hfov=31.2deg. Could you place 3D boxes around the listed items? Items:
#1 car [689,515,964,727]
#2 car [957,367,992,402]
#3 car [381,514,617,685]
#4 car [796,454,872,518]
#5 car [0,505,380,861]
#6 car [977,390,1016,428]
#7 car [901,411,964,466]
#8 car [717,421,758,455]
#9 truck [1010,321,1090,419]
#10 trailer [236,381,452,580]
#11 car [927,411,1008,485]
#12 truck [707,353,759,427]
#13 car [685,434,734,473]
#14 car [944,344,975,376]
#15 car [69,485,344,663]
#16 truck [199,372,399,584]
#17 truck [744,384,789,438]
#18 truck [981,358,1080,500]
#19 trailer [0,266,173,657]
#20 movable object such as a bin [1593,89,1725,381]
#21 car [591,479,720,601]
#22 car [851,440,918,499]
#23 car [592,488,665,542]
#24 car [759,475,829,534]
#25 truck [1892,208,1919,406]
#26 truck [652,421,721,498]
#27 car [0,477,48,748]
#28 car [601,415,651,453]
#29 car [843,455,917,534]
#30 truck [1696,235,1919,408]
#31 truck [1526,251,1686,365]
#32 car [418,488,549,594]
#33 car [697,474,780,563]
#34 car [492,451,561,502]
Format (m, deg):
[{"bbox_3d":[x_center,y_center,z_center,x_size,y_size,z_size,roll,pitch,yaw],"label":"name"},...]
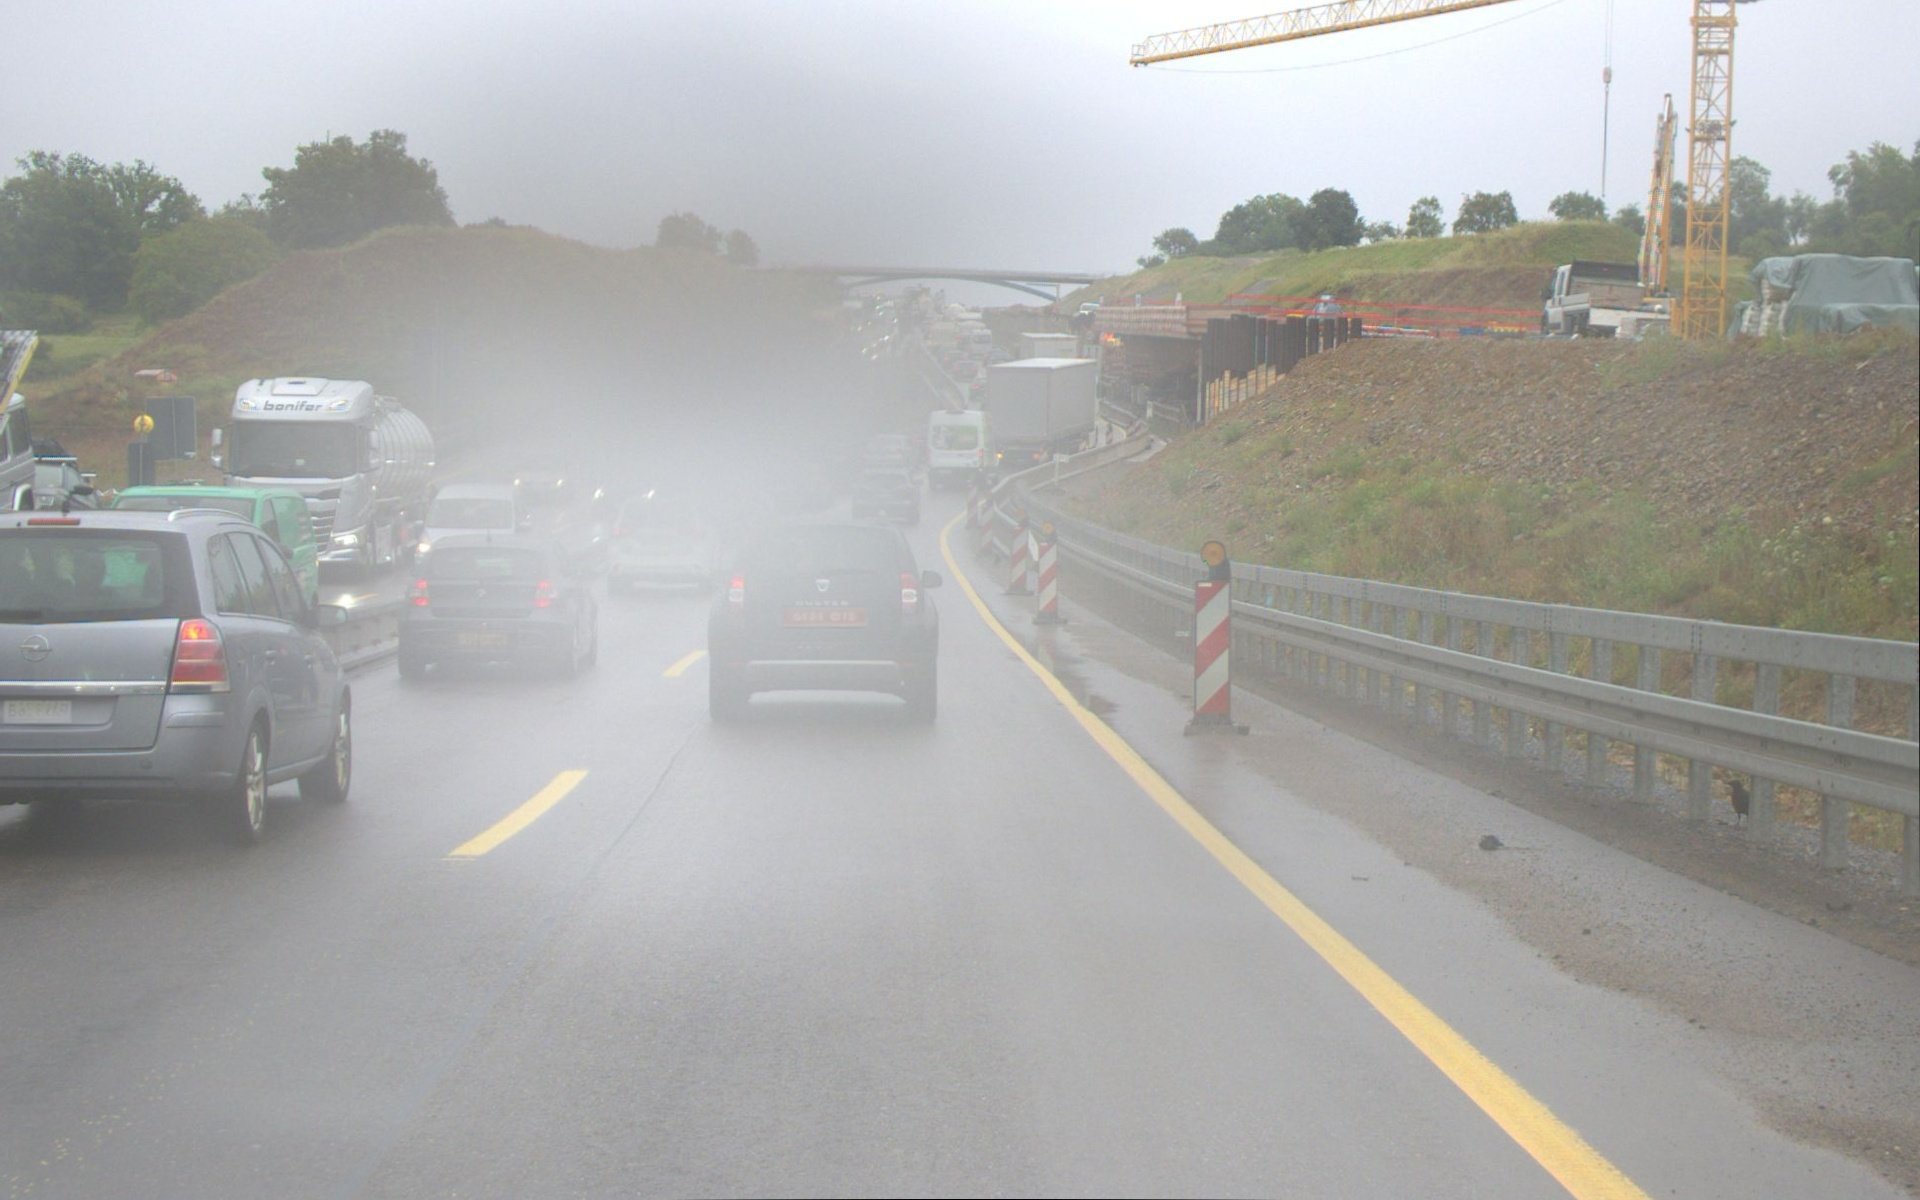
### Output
[{"bbox_3d":[-1.044,0.116,28.333,2.081,1.595,4.141,1,1,-1],"label":"car"},{"bbox_3d":[0.855,-12.915,206.226,1.993,2.006,4.001,0,3,-2],"label":"car"},{"bbox_3d":[-4.573,-0.051,34.642,1.993,1.595,4.141,1,1,-3],"label":"car"},{"bbox_3d":[-4.304,-3.891,117.893,1.994,2.155,4.140,1,1,7],"label":"car"},{"bbox_3d":[-4.292,0.322,17.568,1.993,1.595,4.141,1,1,-1],"label":"car"},{"bbox_3d":[1.952,-10.270,185.010,1.993,2.006,4.001,0,3,-2],"label":"car"},{"bbox_3d":[-1.133,-6.617,141.405,1.994,2.155,4.139,1,1,8],"label":"car"},{"bbox_3d":[-9.985,-7.283,154.632,1.676,1.518,4.346,0,3,-2],"label":"car"},{"bbox_3d":[5.129,-13.205,198.741,3.803,5.025,12.923,1,1,-2],"label":"truck"},{"bbox_3d":[-12.333,-2.371,69.845,2.620,3.665,12.006,1,1,-2],"label":"trailer"},{"bbox_3d":[0.286,-5.284,120.137,1.994,2.475,4.980,1,1,10],"label":"car"},{"bbox_3d":[-12.664,-11.752,192.125,2.641,3.956,9.216,1,4,-2],"label":"truck"},{"bbox_3d":[-10.135,-5.944,139.516,1.786,1.533,4.312,0,2,-1],"label":"car"},{"bbox_3d":[-0.062,-16.965,243.125,1.993,2.007,4.001,1,1,-2],"label":"car"},{"bbox_3d":[-7.935,-0.321,36.635,1.993,1.753,4.688,1,2,-1],"label":"car"},{"bbox_3d":[-12.086,-2.211,63.358,2.620,3.665,6.596,1,1,-2],"label":"truck"},{"bbox_3d":[-9.958,-9.726,177.244,2.147,2.704,6.017,1,3,-2],"label":"truck"},{"bbox_3d":[2.895,-6.799,138.303,3.102,5.407,9.441,1,1,6],"label":"truck"},{"bbox_3d":[-11.283,-1.459,36.230,2.749,4.028,15.361,1,1,-1],"label":"trailer"},{"bbox_3d":[28.188,-14.434,138.253,4.721,10.804,10.298,1,1,13],"label":"movable object such as a bin"},{"bbox_3d":[-5.226,-1.049,59.363,1.993,2.007,3.894,1,1,-2],"label":"car"},{"bbox_3d":[-2.882,-4.992,131.793,1.994,2.155,4.140,1,1,6],"label":"car"},{"bbox_3d":[-9.531,-2.464,99.064,1.772,1.499,4.680,0,2,-2],"label":"car"},{"bbox_3d":[-5.131,-2.951,106.397,1.993,1.755,3.815,1,1,0],"label":"car"},{"bbox_3d":[21.881,-6.301,72.914,2.373,4.203,5.980,1,1,-2],"label":"truck"},{"bbox_3d":[-9.487,-4.861,119.641,2.078,2.567,5.963,1,1,-2],"label":"truck"},{"bbox_3d":[-7.246,0.119,21.536,1.787,1.799,5.190,-1,1,-1],"label":"car"},{"bbox_3d":[-14.038,-6.984,144.758,1.786,1.533,4.312,0,2,-1],"label":"car"},{"bbox_3d":[-2.218,-2.959,96.743,1.993,2.155,4.141,1,1,0],"label":"car"},{"bbox_3d":[17.286,-5.422,68.277,3.395,2.865,8.960,1,1,0],"label":"truck"},{"bbox_3d":[17.011,-7.655,90.936,2.645,2.546,6.986,1,1,-2],"label":"truck"},{"bbox_3d":[-8.408,-1.062,60.966,1.865,1.794,4.163,1,1,-2],"label":"car"},{"bbox_3d":[-5.555,-2.035,85.800,1.993,2.155,4.141,1,1,-4],"label":"car"},{"bbox_3d":[-13.528,-3.857,107.455,1.787,1.541,4.001,1,2,-2],"label":"car"}]
